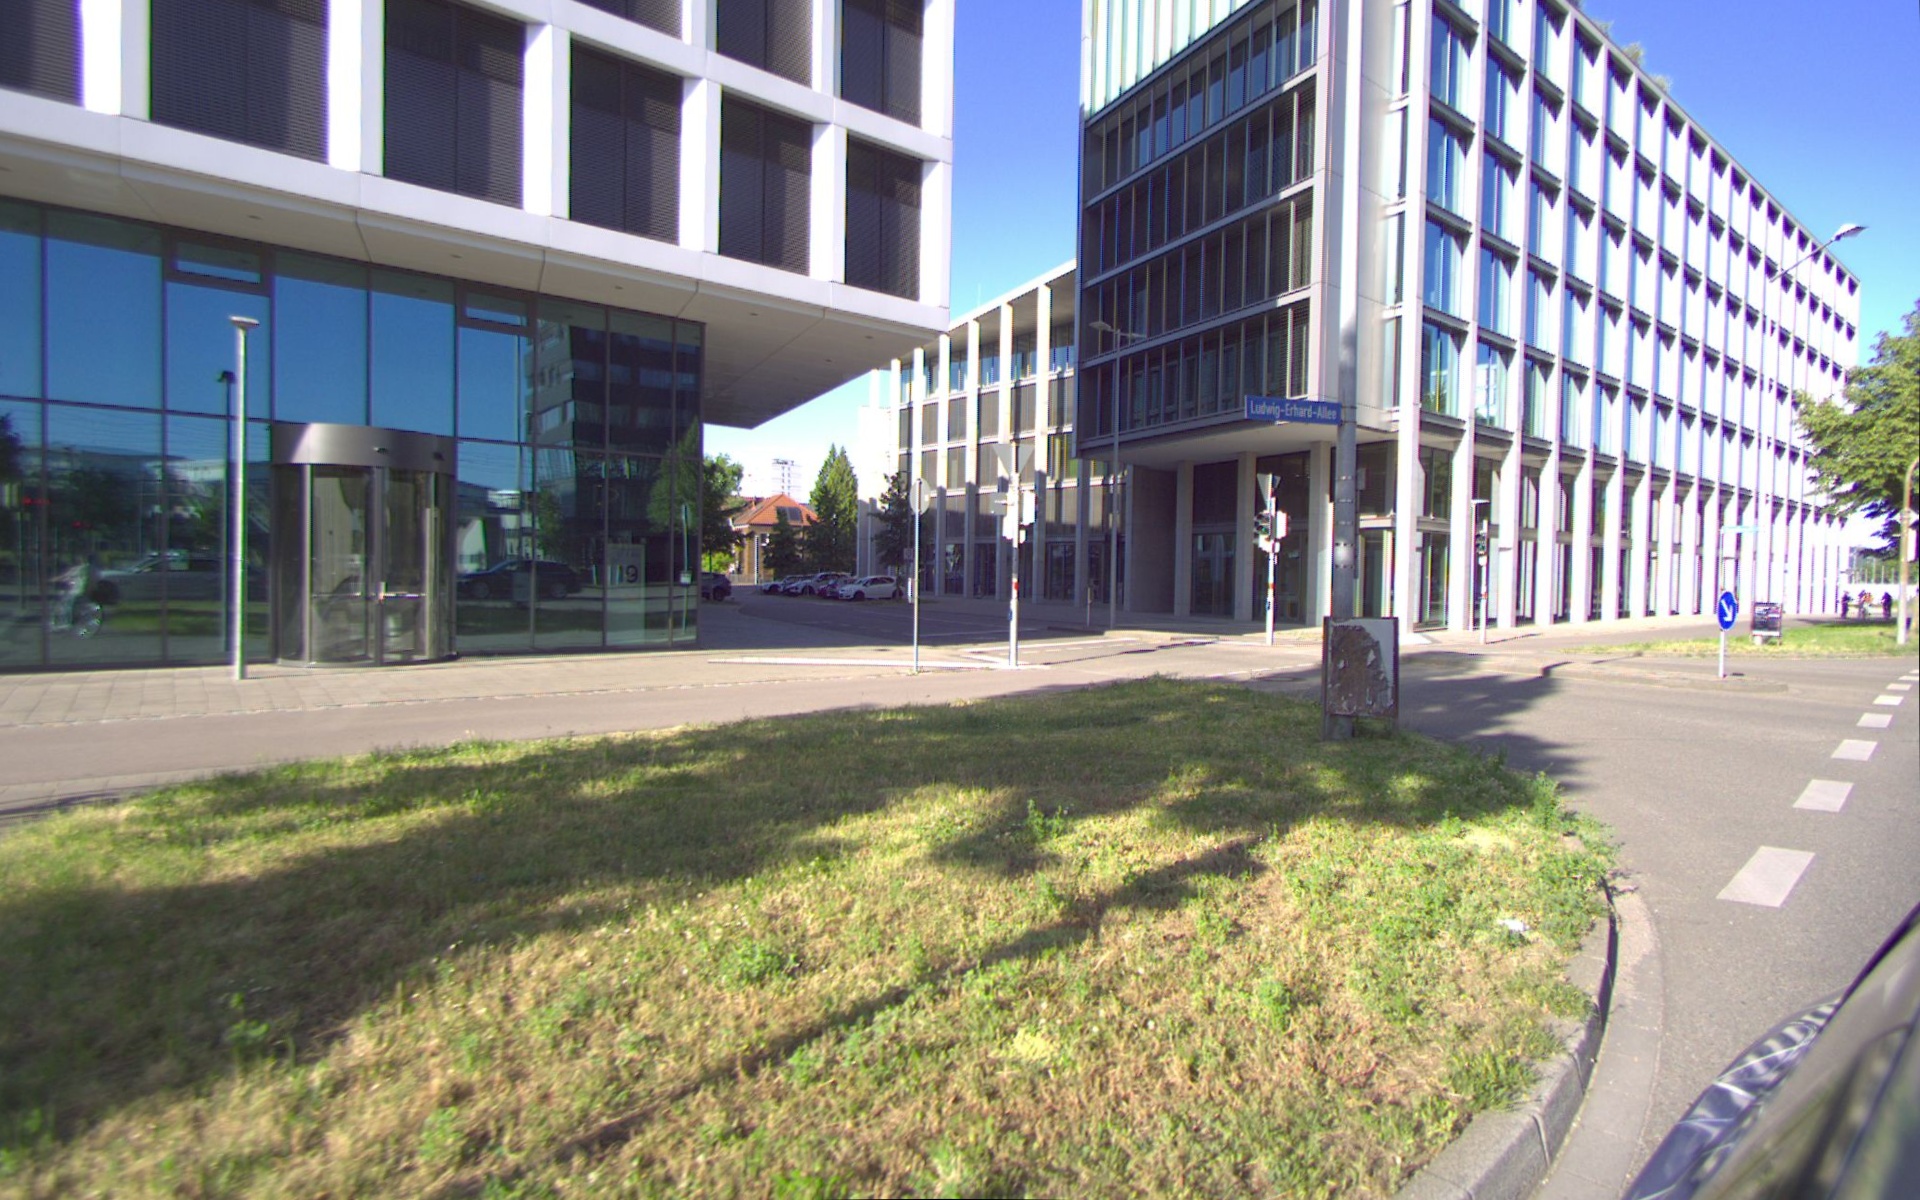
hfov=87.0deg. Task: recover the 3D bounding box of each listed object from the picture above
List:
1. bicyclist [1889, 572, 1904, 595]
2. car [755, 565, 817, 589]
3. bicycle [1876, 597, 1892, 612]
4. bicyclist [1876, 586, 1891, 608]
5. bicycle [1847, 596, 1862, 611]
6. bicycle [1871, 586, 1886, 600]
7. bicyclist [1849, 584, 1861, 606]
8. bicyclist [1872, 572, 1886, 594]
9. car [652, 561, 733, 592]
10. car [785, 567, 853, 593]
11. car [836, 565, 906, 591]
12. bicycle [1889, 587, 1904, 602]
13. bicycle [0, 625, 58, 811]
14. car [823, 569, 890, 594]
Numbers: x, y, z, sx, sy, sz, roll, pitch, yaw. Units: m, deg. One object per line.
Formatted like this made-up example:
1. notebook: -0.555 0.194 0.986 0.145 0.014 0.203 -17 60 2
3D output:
1. bicyclist: 55.084 -0.981 59.532 0.511 1.305 0.535 -1 1 -38
2. car: -13.332 -1.767 77.483 4.366 1.749 1.797 0 2 -25
3. bicycle: 52.461 0.264 57.467 1.320 0.828 0.464 -2 2 -38
4. bicyclist: 52.437 -0.193 57.466 0.498 1.232 0.535 -1 1 -38
5. bicycle: 51.603 0.176 58.403 1.296 0.828 0.415 -2 2 -38
6. bicycle: 55.041 -0.410 60.630 1.320 0.828 0.464 -2 2 -38
7. bicyclist: 51.613 -0.293 58.389 0.410 1.305 0.448 -1 1 -38
8. bicyclist: 55.025 -1.003 60.575 0.449 1.305 0.535 -1 1 -38
9. car: -15.113 -1.337 57.174 4.207 1.734 1.663 0 2 -26
10. car: -9.790 -1.378 70.395 4.366 1.749 1.797 0 2 -25
11. car: -5.402 -1.323 61.608 3.918 1.523 1.663 0 2 -26
12. bicycle: 55.157 -0.346 59.604 1.320 0.828 0.464 -2 2 -38
13. bicycle: -6.666 0.800 6.035 0.731 1.188 1.959 1 2 5
14. car: -6.566 -1.181 64.116 3.918 1.523 1.663 0 2 -26
